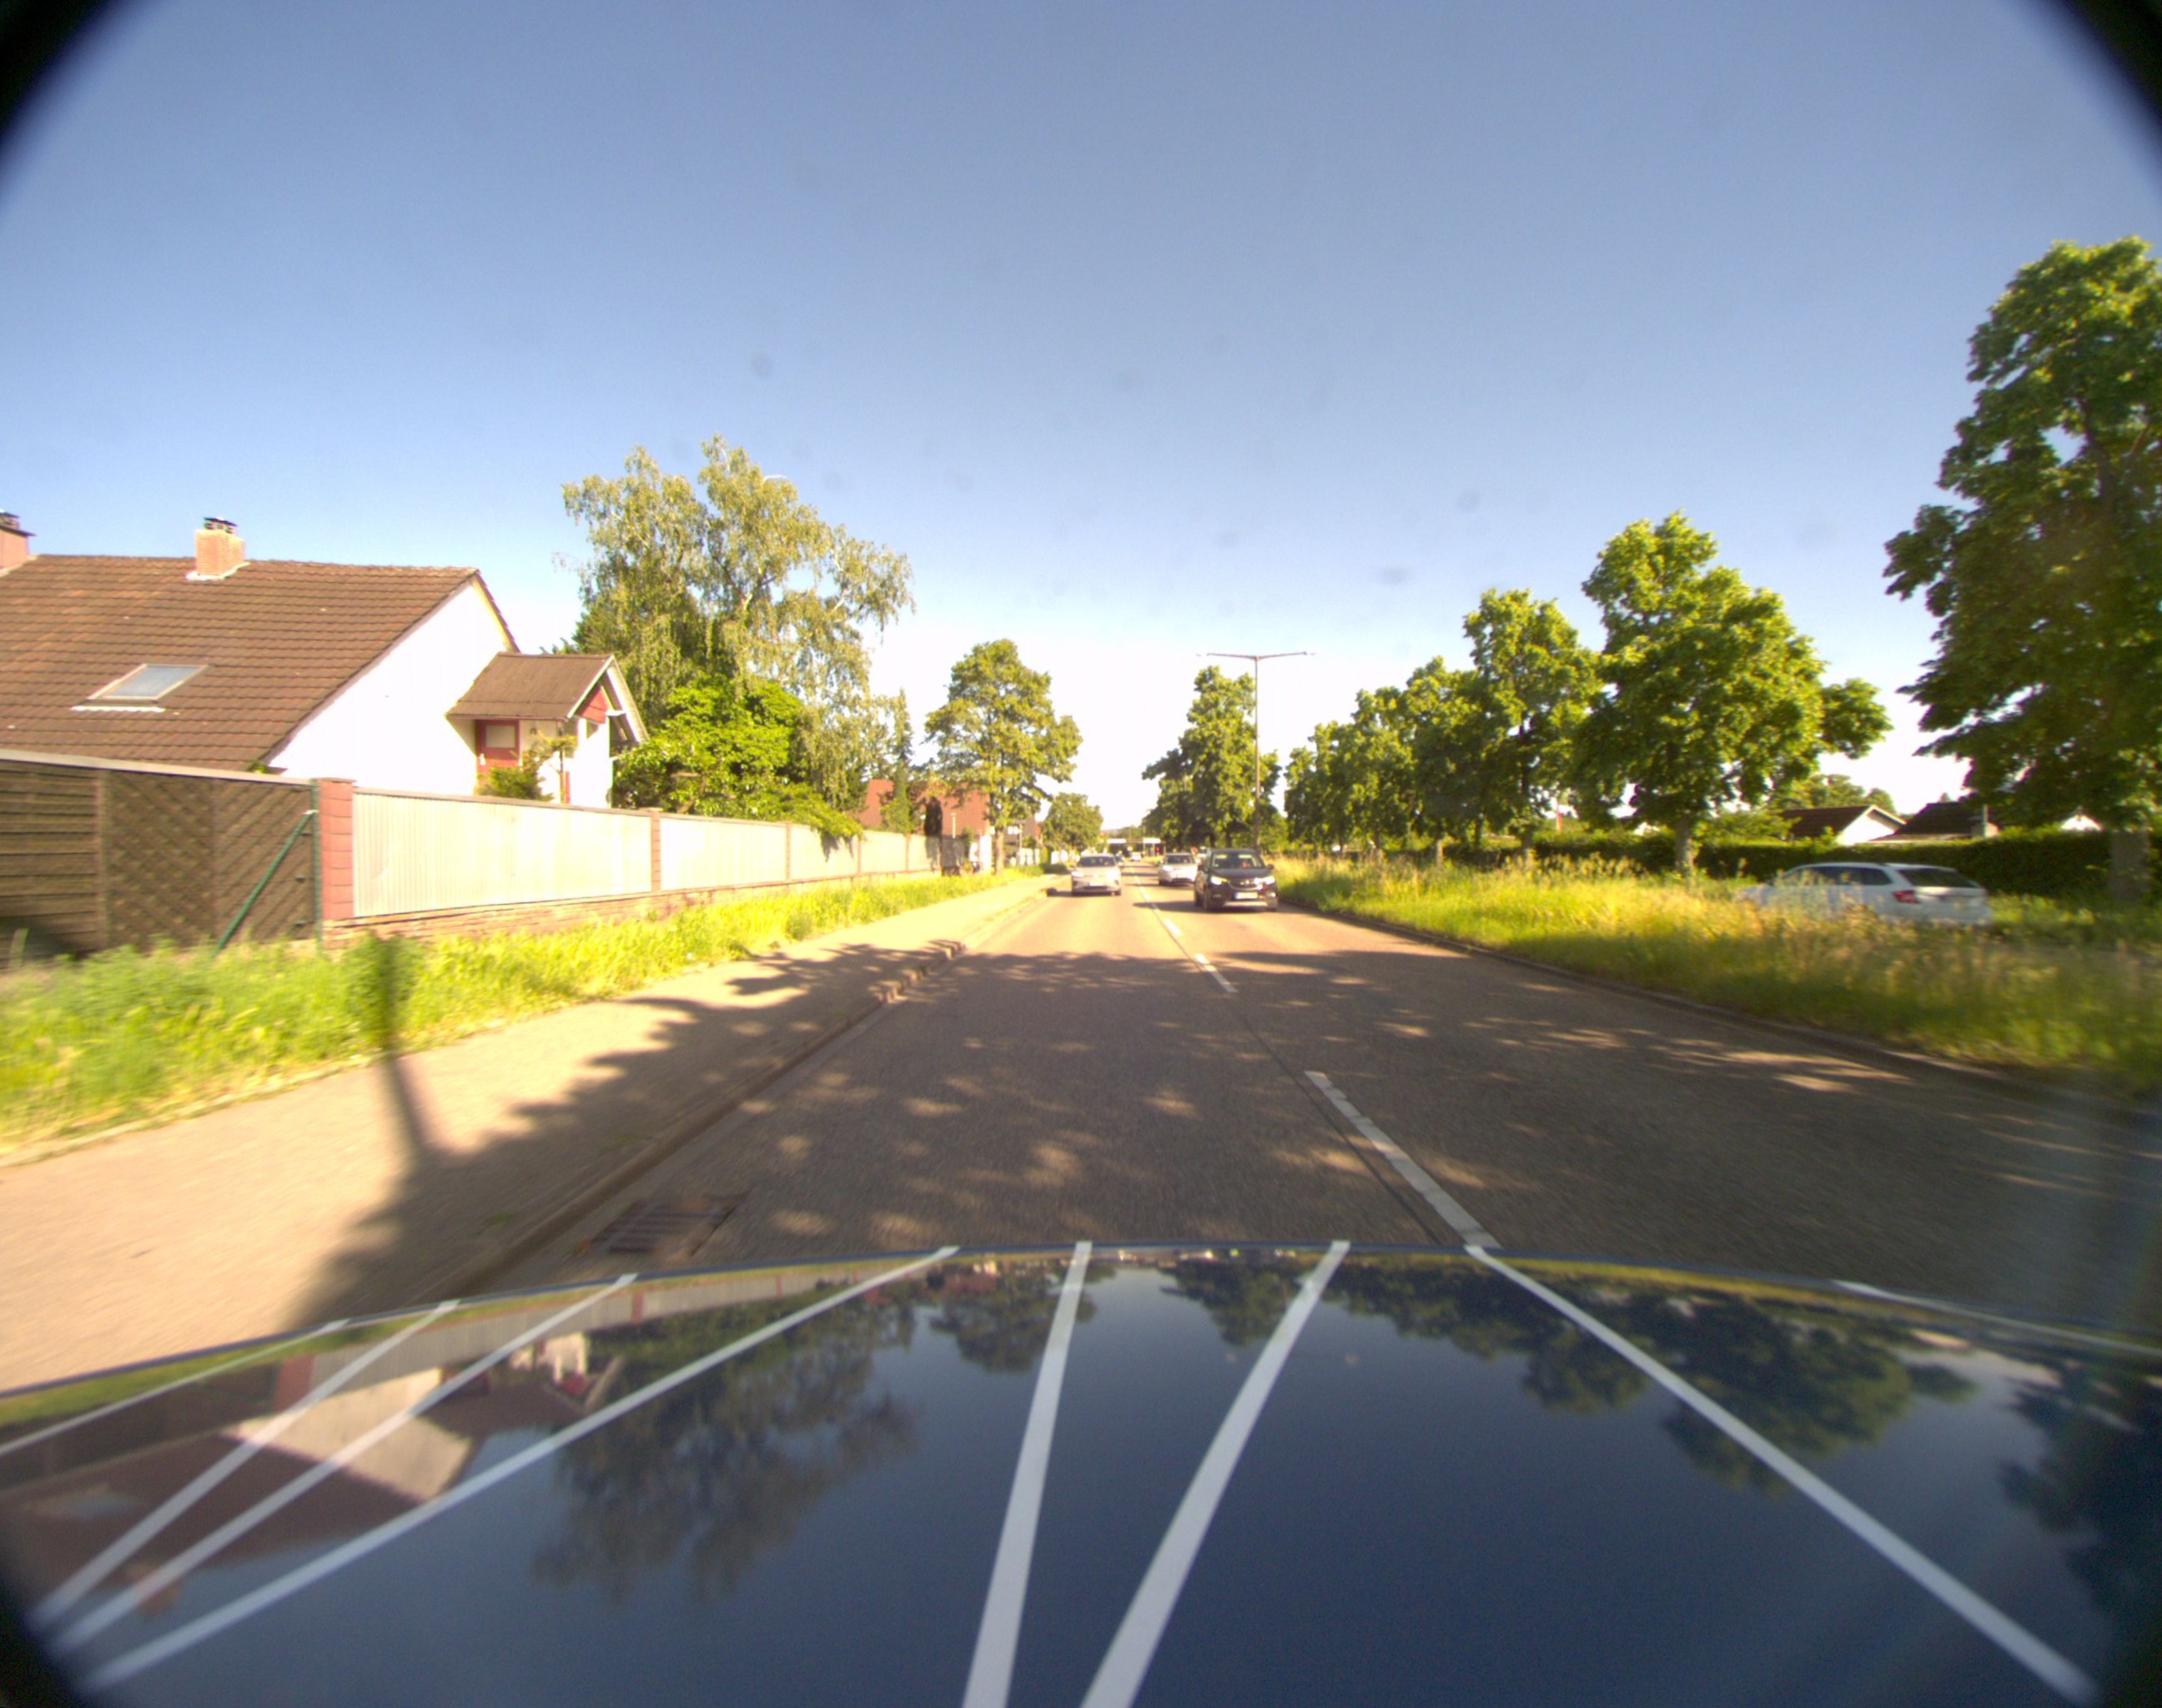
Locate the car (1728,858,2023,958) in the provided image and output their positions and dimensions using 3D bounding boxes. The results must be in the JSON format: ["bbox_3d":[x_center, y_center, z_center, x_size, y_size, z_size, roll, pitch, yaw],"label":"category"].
[{"bbox_3d":[15.807,0.967,15.492,1.942,1.647,4.000,-2,1,3],"label":"car"}]

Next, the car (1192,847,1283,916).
[{"bbox_3d":[4.082,0.639,20.489,1.810,1.605,4.515,0,1,4],"label":"car"}]

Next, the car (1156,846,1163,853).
[{"bbox_3d":[20.075,-1.155,194.556,1.631,1.793,3.572,-1,1,0],"label":"car"}]

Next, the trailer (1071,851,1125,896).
[{"bbox_3d":[0.676,0.708,29.604,1.897,1.586,4.000,-2,0,2],"label":"trailer"}]

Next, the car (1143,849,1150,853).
[{"bbox_3d":[19.615,-0.901,227.632,1.632,1.279,3.506,-1,1,-7],"label":"car"}]

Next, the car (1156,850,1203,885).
[{"bbox_3d":[4.727,0.616,36.869,1.823,1.553,4.646,-1,1,2],"label":"car"}]

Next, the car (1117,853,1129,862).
[{"bbox_3d":[8.350,0.753,151.636,1.999,1.674,3.998,0,1,-3],"label":"car"}]

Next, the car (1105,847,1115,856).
[{"bbox_3d":[7.151,-0.609,188.877,1.999,2.069,3.998,-2,1,-3],"label":"car"}]
